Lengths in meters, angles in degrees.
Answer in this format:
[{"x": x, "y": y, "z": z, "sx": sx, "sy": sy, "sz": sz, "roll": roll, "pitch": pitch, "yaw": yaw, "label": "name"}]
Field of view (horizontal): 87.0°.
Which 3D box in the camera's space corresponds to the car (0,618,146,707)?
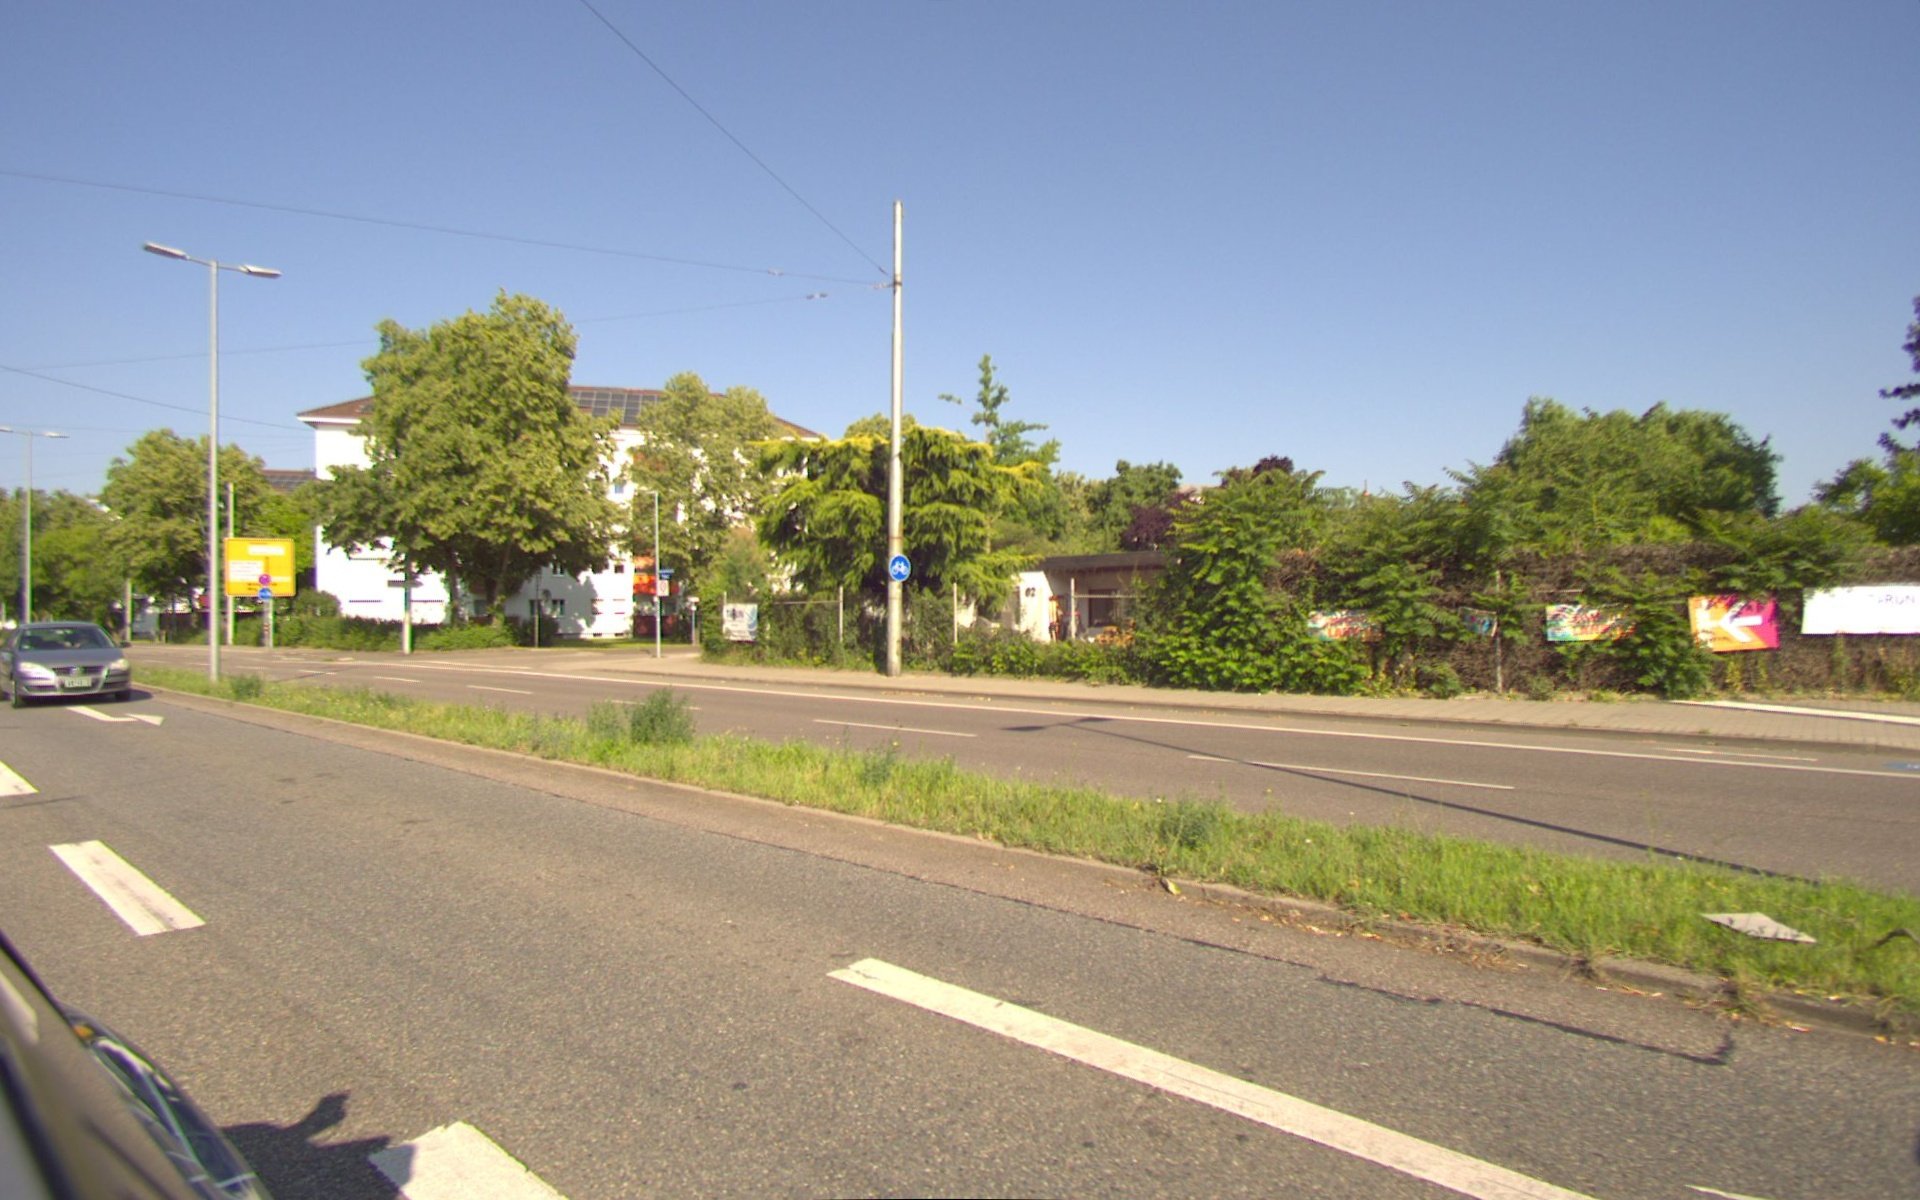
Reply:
[{"x": -16.574, "y": 1.083, "z": 18.565, "sx": 3.826, "sy": 1.439, "sz": 1.673, "roll": -2, "pitch": 0, "yaw": 37, "label": "car"}]
